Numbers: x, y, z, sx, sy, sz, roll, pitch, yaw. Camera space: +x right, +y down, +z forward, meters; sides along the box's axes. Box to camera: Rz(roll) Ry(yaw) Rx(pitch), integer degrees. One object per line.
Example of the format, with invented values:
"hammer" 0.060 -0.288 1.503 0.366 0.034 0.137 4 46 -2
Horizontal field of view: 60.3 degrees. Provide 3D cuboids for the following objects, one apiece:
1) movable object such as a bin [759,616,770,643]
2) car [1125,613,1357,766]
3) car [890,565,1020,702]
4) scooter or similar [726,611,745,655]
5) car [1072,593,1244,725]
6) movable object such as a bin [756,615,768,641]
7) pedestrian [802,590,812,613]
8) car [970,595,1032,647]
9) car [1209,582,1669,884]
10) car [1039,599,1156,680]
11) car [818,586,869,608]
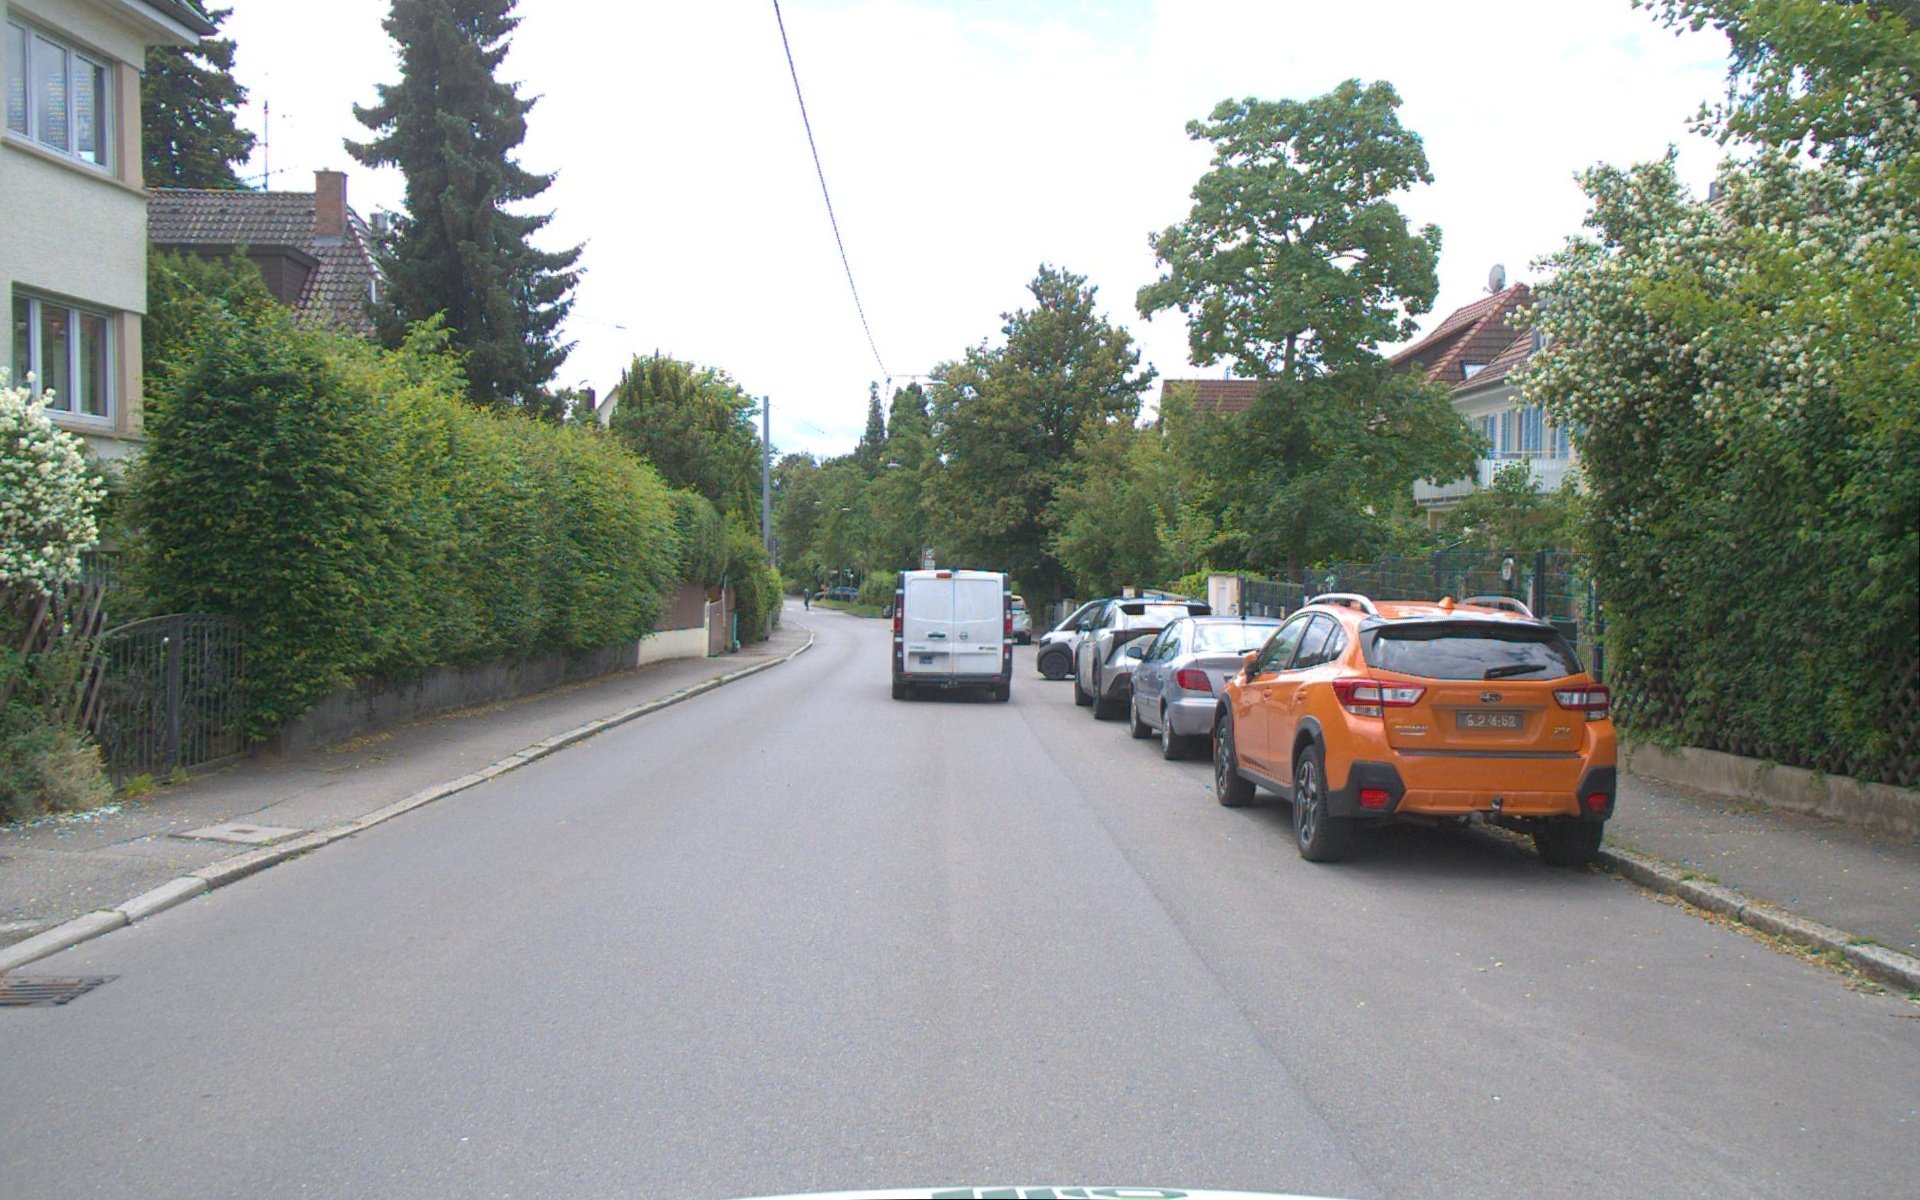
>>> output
"movable object such as a bin" -6.900 1.036 58.348 0.329 0.909 0.476 1 0 -1
"car" 2.872 0.865 17.752 1.681 1.406 4.235 1 0 -1
"car" -0.164 0.471 26.617 1.891 1.998 4.400 1 1 -3
"scooter or similar" -6.216 0.912 45.895 0.384 1.191 1.269 1 0 -2
"car" 2.664 0.751 23.209 1.792 1.652 4.491 1 0 -1
"movable object such as a bin" -6.889 0.968 57.491 0.329 0.909 0.476 1 0 0
"pedestrian" -11.337 0.092 122.827 0.684 1.644 0.714 1 2 -8
"car" 1.418 0.719 58.436 1.828 1.714 4.347 1 0 -3
"car" 3.020 0.756 11.409 1.813 1.655 4.168 2 0 -2
"car" 2.688 0.759 32.489 2.239 1.550 1.318 0 0 4
"car" -10.446 -0.233 148.123 4.312 1.892 1.897 1 1 -12
